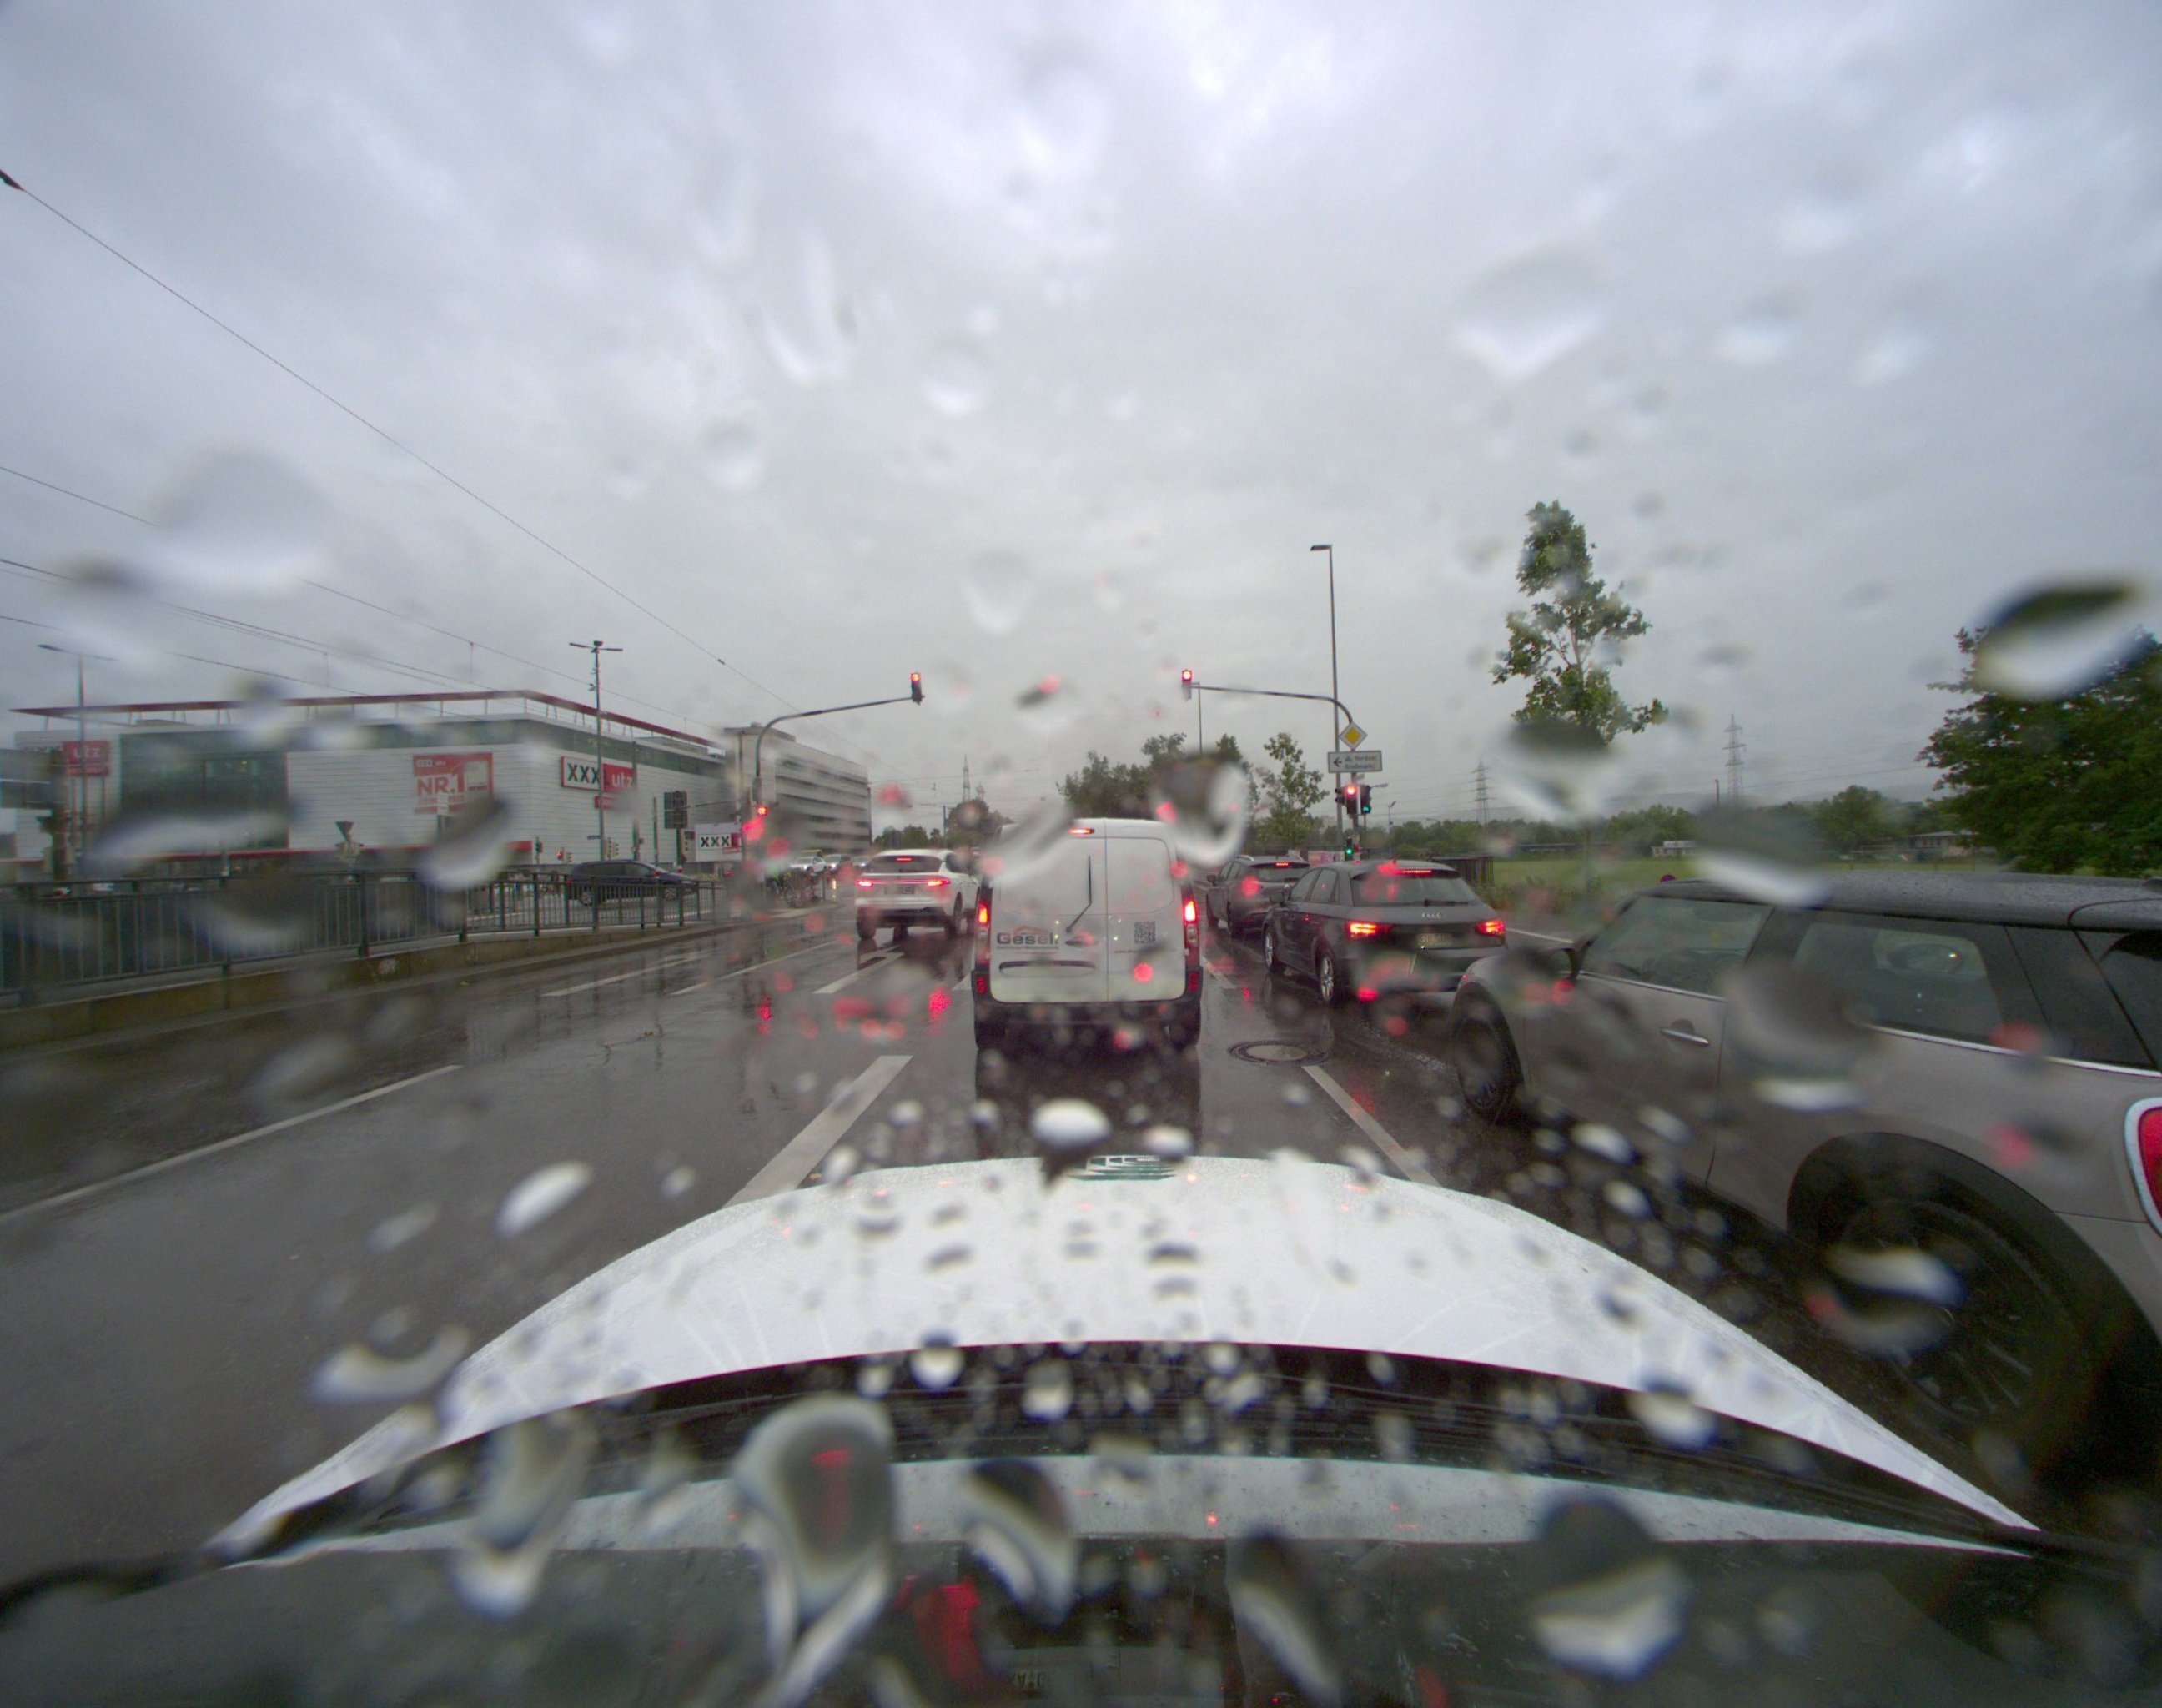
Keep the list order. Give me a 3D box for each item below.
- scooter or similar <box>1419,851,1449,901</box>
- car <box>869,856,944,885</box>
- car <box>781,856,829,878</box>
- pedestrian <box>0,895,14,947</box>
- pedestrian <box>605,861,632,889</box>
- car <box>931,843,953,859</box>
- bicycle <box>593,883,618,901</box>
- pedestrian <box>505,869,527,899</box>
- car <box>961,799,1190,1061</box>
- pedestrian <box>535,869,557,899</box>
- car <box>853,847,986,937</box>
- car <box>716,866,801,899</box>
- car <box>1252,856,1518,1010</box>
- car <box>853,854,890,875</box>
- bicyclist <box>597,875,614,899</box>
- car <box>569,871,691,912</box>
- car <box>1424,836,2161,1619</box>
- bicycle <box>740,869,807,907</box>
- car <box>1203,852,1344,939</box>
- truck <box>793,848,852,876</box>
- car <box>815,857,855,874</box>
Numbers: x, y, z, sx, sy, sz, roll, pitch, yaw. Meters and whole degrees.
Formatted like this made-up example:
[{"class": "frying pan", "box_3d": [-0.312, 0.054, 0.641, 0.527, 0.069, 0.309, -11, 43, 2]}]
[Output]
[{"class": "scooter or similar", "box_3d": [8.428, 0.520, 19.475, 0.244, 1.158, 1.187, 0, -1, 3]}, {"class": "car", "box_3d": [-9.212, 0.845, 43.214, 1.599, 1.503, 3.739, -1, -1, 39]}, {"class": "car", "box_3d": [-19.511, 0.919, 57.799, 1.689, 1.492, 3.884, -1, -1, 7]}, {"class": "pedestrian", "box_3d": [-32.469, 2.006, 24.121, 0.561, 1.537, 0.872, 0, -1, 1]}, {"class": "pedestrian", "box_3d": [-26.946, 1.214, 47.415, 0.912, 1.632, 1.015, -1, -1, 12]}, {"class": "car", "box_3d": [-17.837, -0.328, 104.713, 1.985, 2.014, 4.004, 0, -1, 3]}, {"class": "bicycle", "box_3d": [-29.249, 2.332, 50.124, 0.448, 0.987, 1.709, 0, -1, 2]}, {"class": "pedestrian", "box_3d": [-31.379, 1.630, 45.231, 0.701, 1.632, 0.918, 0, -1, -10]}, {"class": "car", "box_3d": [0.028, 0.538, 7.645, 1.560, 1.788, 4.002, -1, 0, 2]}, {"class": "pedestrian", "box_3d": [-29.906, 1.684, 45.547, 0.701, 1.632, 0.918, 0, -1, -10]}, {"class": "car", "box_3d": [-3.054, 0.644, 16.282, 1.723, 1.535, 4.298, 0, 0, 1]}, {"class": "car", "box_3d": [-14.752, 1.265, 37.285, 3.369, 1.422, 1.452, 0, -1, -34]}, {"class": "car", "box_3d": [3.049, 0.708, 8.975, 1.623, 1.344, 3.624, 0, 0, 1]}, {"class": "car", "box_3d": [-18.227, 0.908, 70.993, 1.883, 1.699, 4.006, 0, -1, 6]}, {"class": "bicyclist", "box_3d": [-29.325, 2.009, 50.211, 0.681, 1.464, 0.647, 0, -1, 3]}, {"class": "car", "box_3d": [-17.125, 1.406, 31.111, 3.866, 1.422, 1.500, 0, -1, -20]}, {"class": "car", "box_3d": [2.956, 0.714, 3.230, 1.707, 1.508, 3.624, 0, 0, 1]}, {"class": "bicycle", "box_3d": [-8.968, 0.995, 23.807, 1.745, 1.034, 0.414, 2, -1, 0]}, {"class": "car", "box_3d": [3.521, 0.690, 15.580, 1.853, 1.428, 3.808, 0, 0, 1]}, {"class": "truck", "box_3d": [-22.433, 0.668, 71.092, 2.342, 2.279, 7.637, 0, 0, 2]}, {"class": "car", "box_3d": [-19.251, 0.898, 63.803, 1.579, 1.336, 3.837, 0, -1, 6]}]
